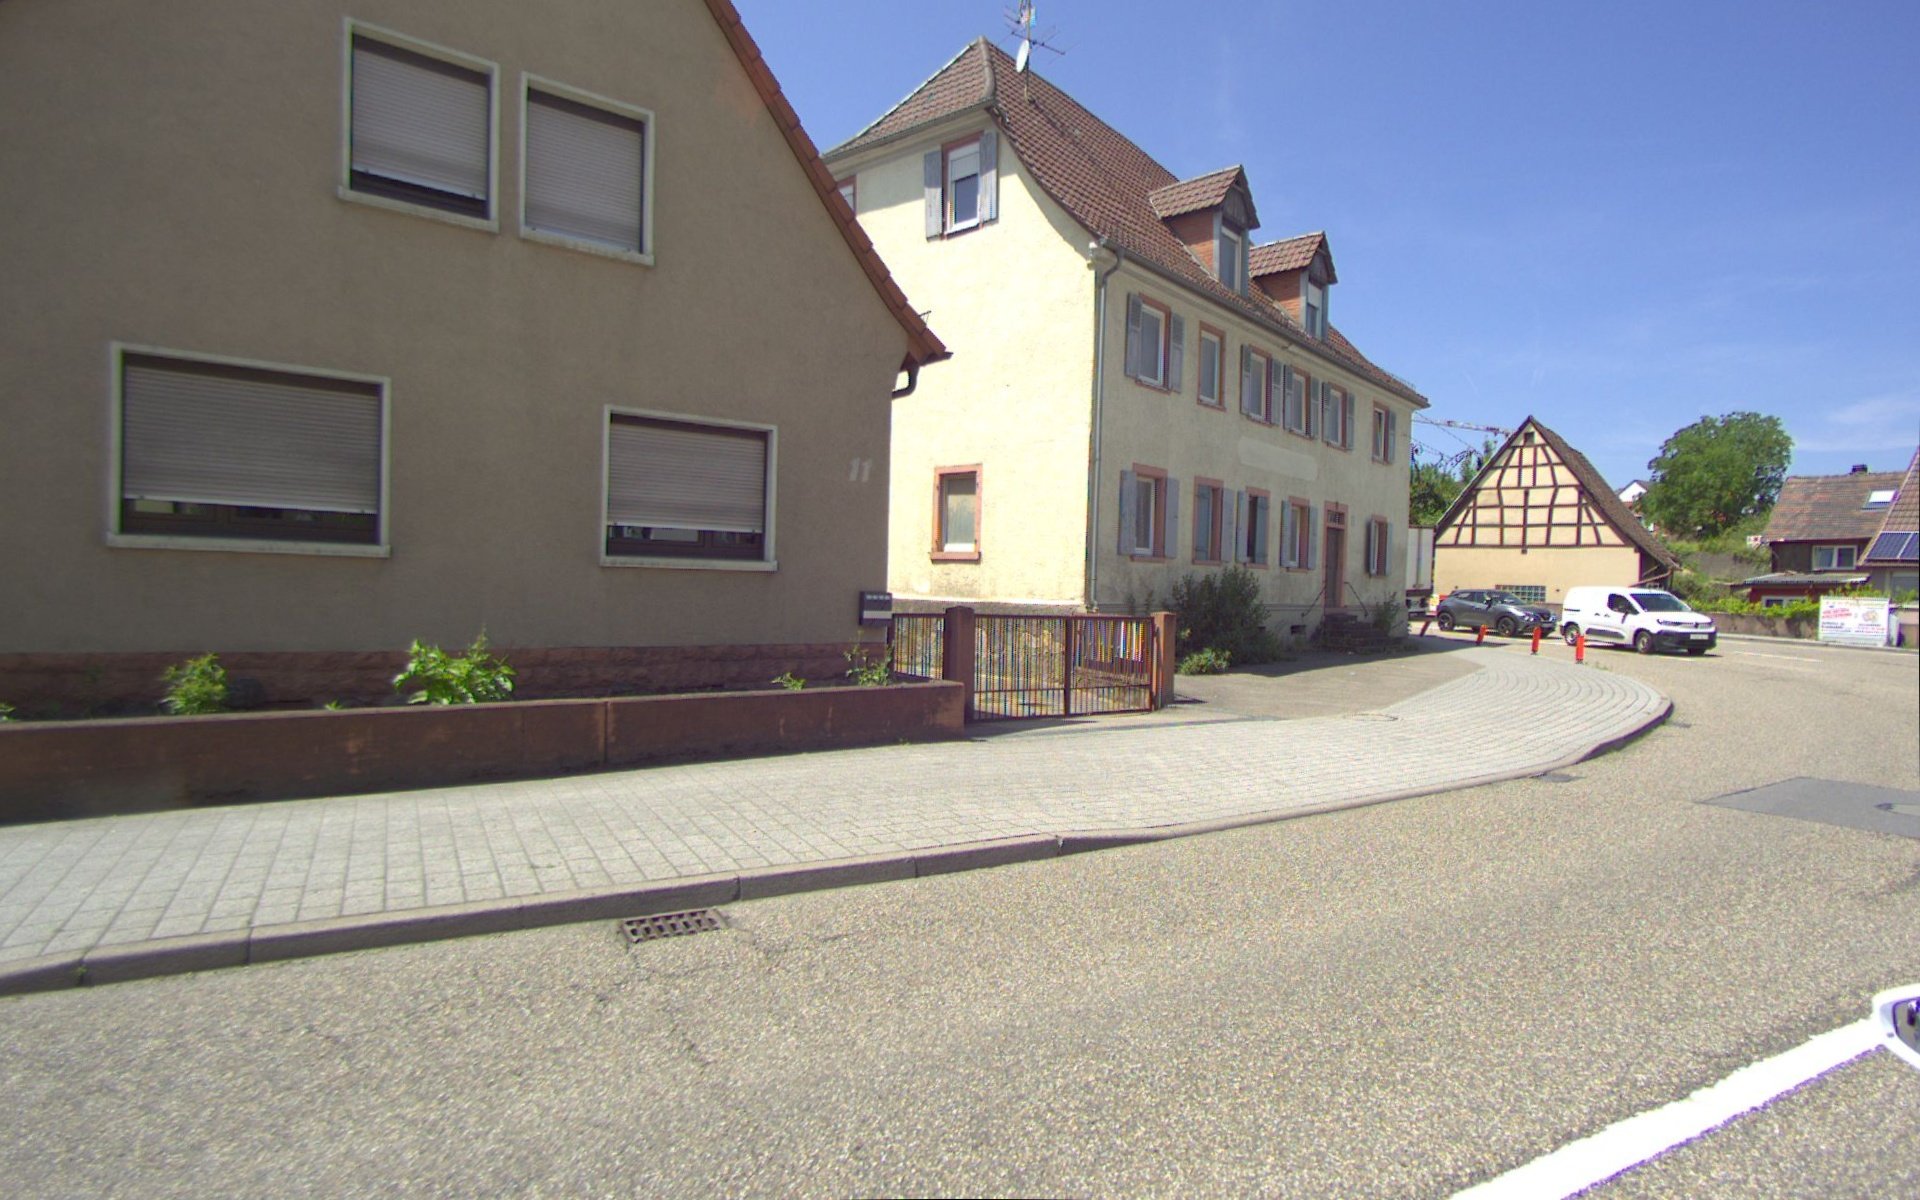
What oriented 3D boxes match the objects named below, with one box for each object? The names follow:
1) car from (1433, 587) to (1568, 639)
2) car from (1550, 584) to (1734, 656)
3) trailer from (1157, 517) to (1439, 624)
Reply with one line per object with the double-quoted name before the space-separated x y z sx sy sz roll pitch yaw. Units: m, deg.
"car" 18.891 0.410 35.287 1.770 1.544 3.982 2 2 -19
"car" 19.710 0.519 29.317 1.845 1.809 4.515 1 2 -8
"trailer" 15.157 -1.476 46.564 3.119 4.334 12.339 2 2 -42
